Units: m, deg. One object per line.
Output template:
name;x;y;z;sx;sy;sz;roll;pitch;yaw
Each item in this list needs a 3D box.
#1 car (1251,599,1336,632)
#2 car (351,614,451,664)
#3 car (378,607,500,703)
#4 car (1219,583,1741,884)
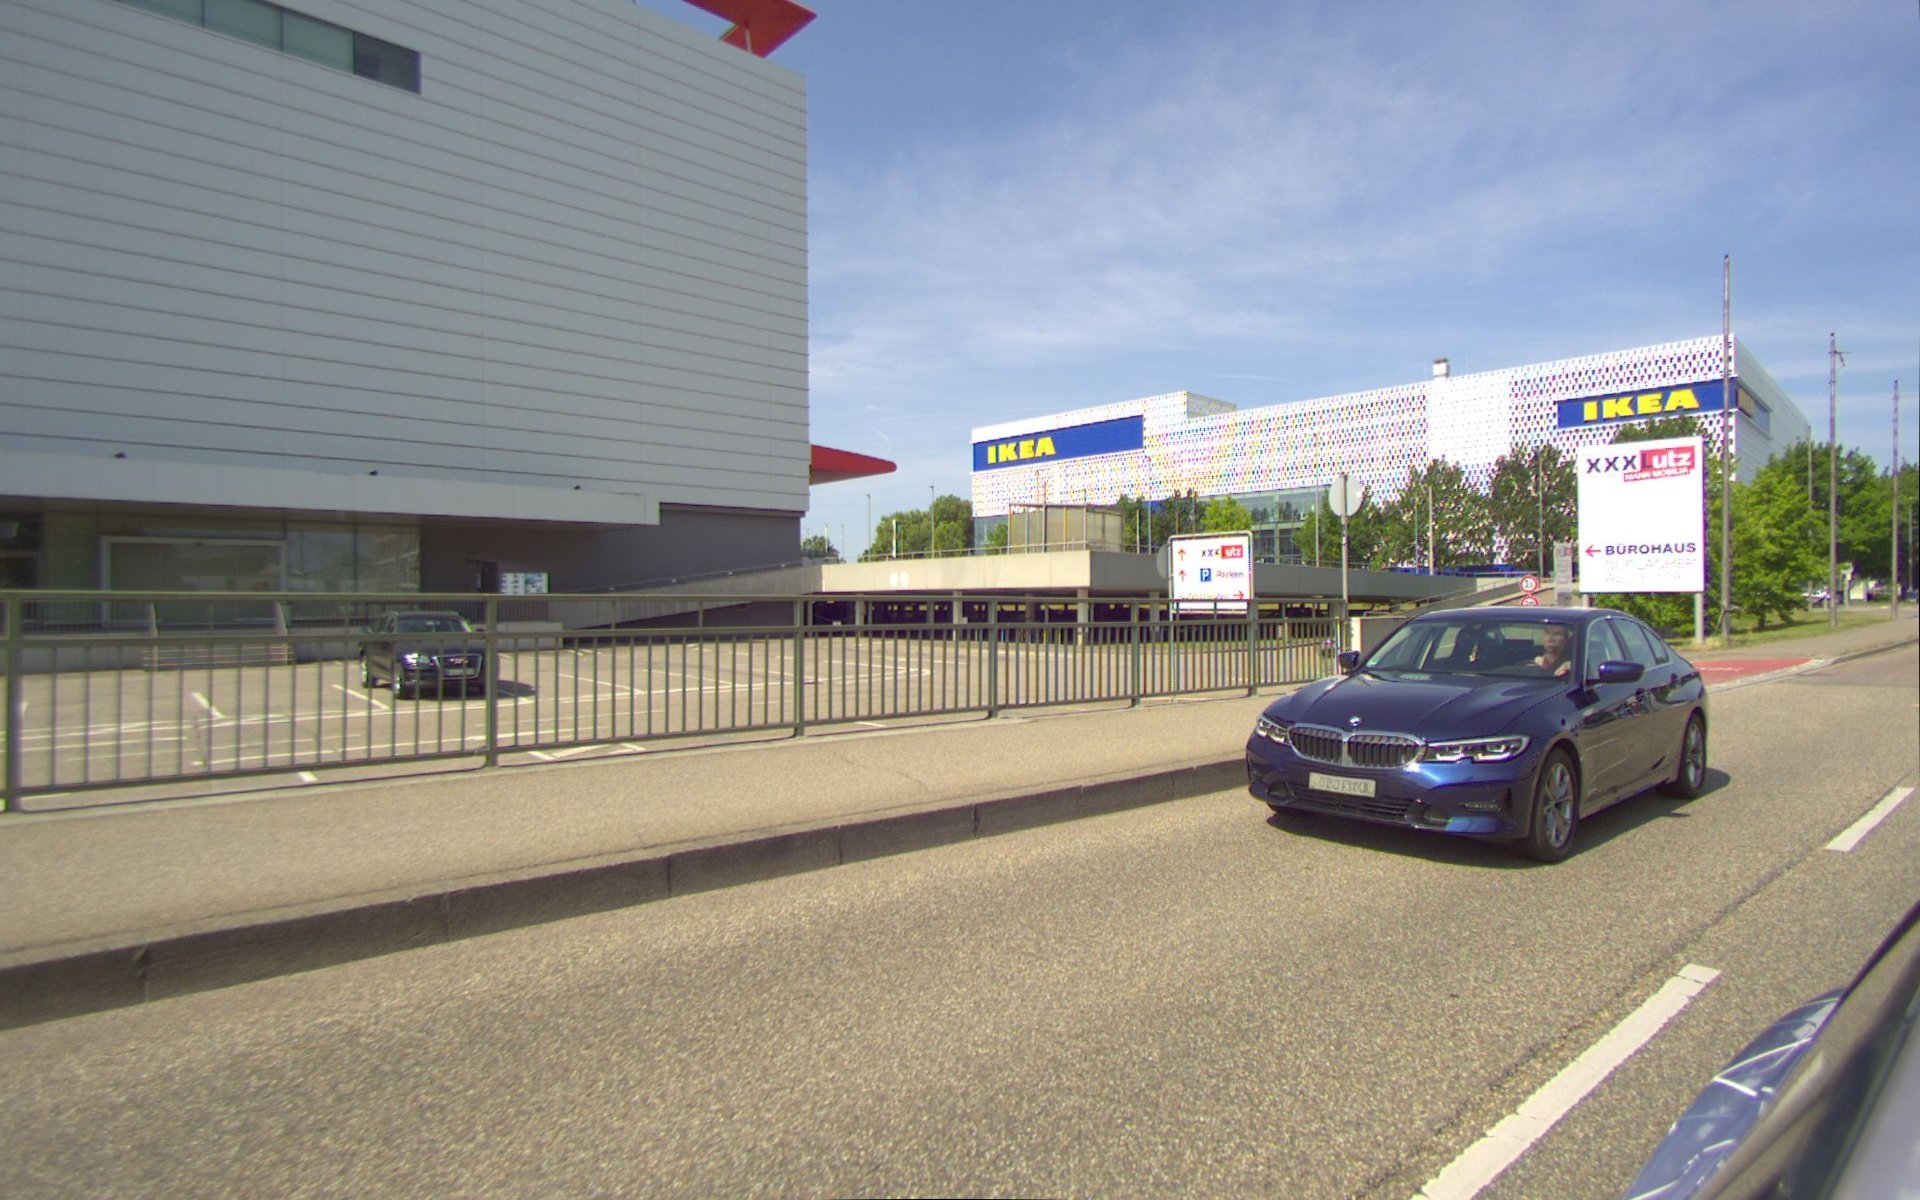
car;19.306;0.876;58.636;4.301;1.857;1.969;0;-1;42
car;-16.890;1.162;30.501;1.780;1.394;3.859;1;-2;-43
car;-10.986;1.052;21.187;1.826;1.754;4.419;-1;0;-33
car;3.919;0.651;7.239;4.441;1.502;1.790;-1;0;-41
